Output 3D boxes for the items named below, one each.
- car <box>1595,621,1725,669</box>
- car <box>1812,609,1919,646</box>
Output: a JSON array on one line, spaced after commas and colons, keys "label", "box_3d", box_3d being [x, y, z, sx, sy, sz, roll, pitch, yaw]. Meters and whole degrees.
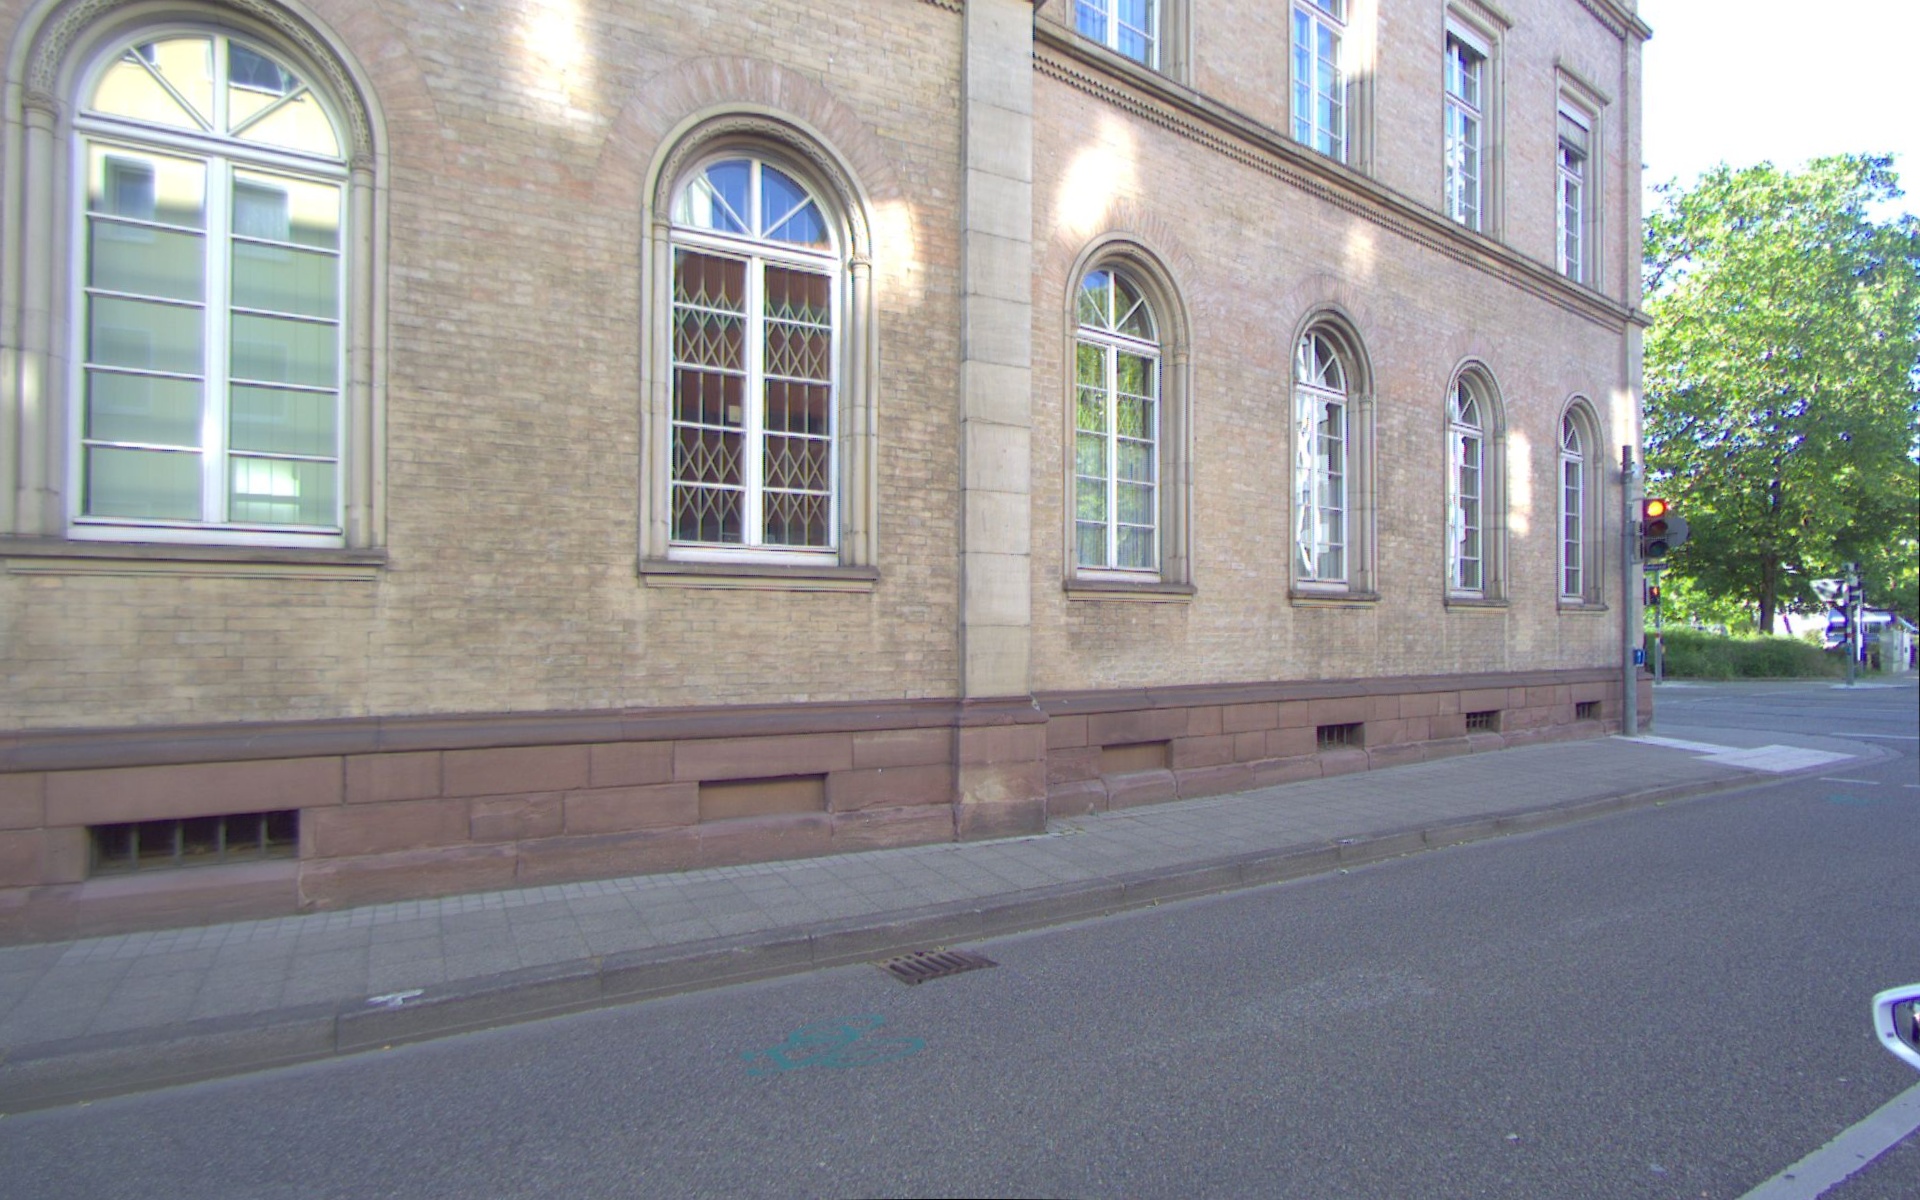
[{"label": "car", "box_3d": [24.358, 1.522, 35.013, 1.636, 1.476, 3.382, 2, 0, -39]}, {"label": "car", "box_3d": [53.480, 1.610, 59.373, 1.983, 2.040, 4.409, 2, 0, -38]}]
